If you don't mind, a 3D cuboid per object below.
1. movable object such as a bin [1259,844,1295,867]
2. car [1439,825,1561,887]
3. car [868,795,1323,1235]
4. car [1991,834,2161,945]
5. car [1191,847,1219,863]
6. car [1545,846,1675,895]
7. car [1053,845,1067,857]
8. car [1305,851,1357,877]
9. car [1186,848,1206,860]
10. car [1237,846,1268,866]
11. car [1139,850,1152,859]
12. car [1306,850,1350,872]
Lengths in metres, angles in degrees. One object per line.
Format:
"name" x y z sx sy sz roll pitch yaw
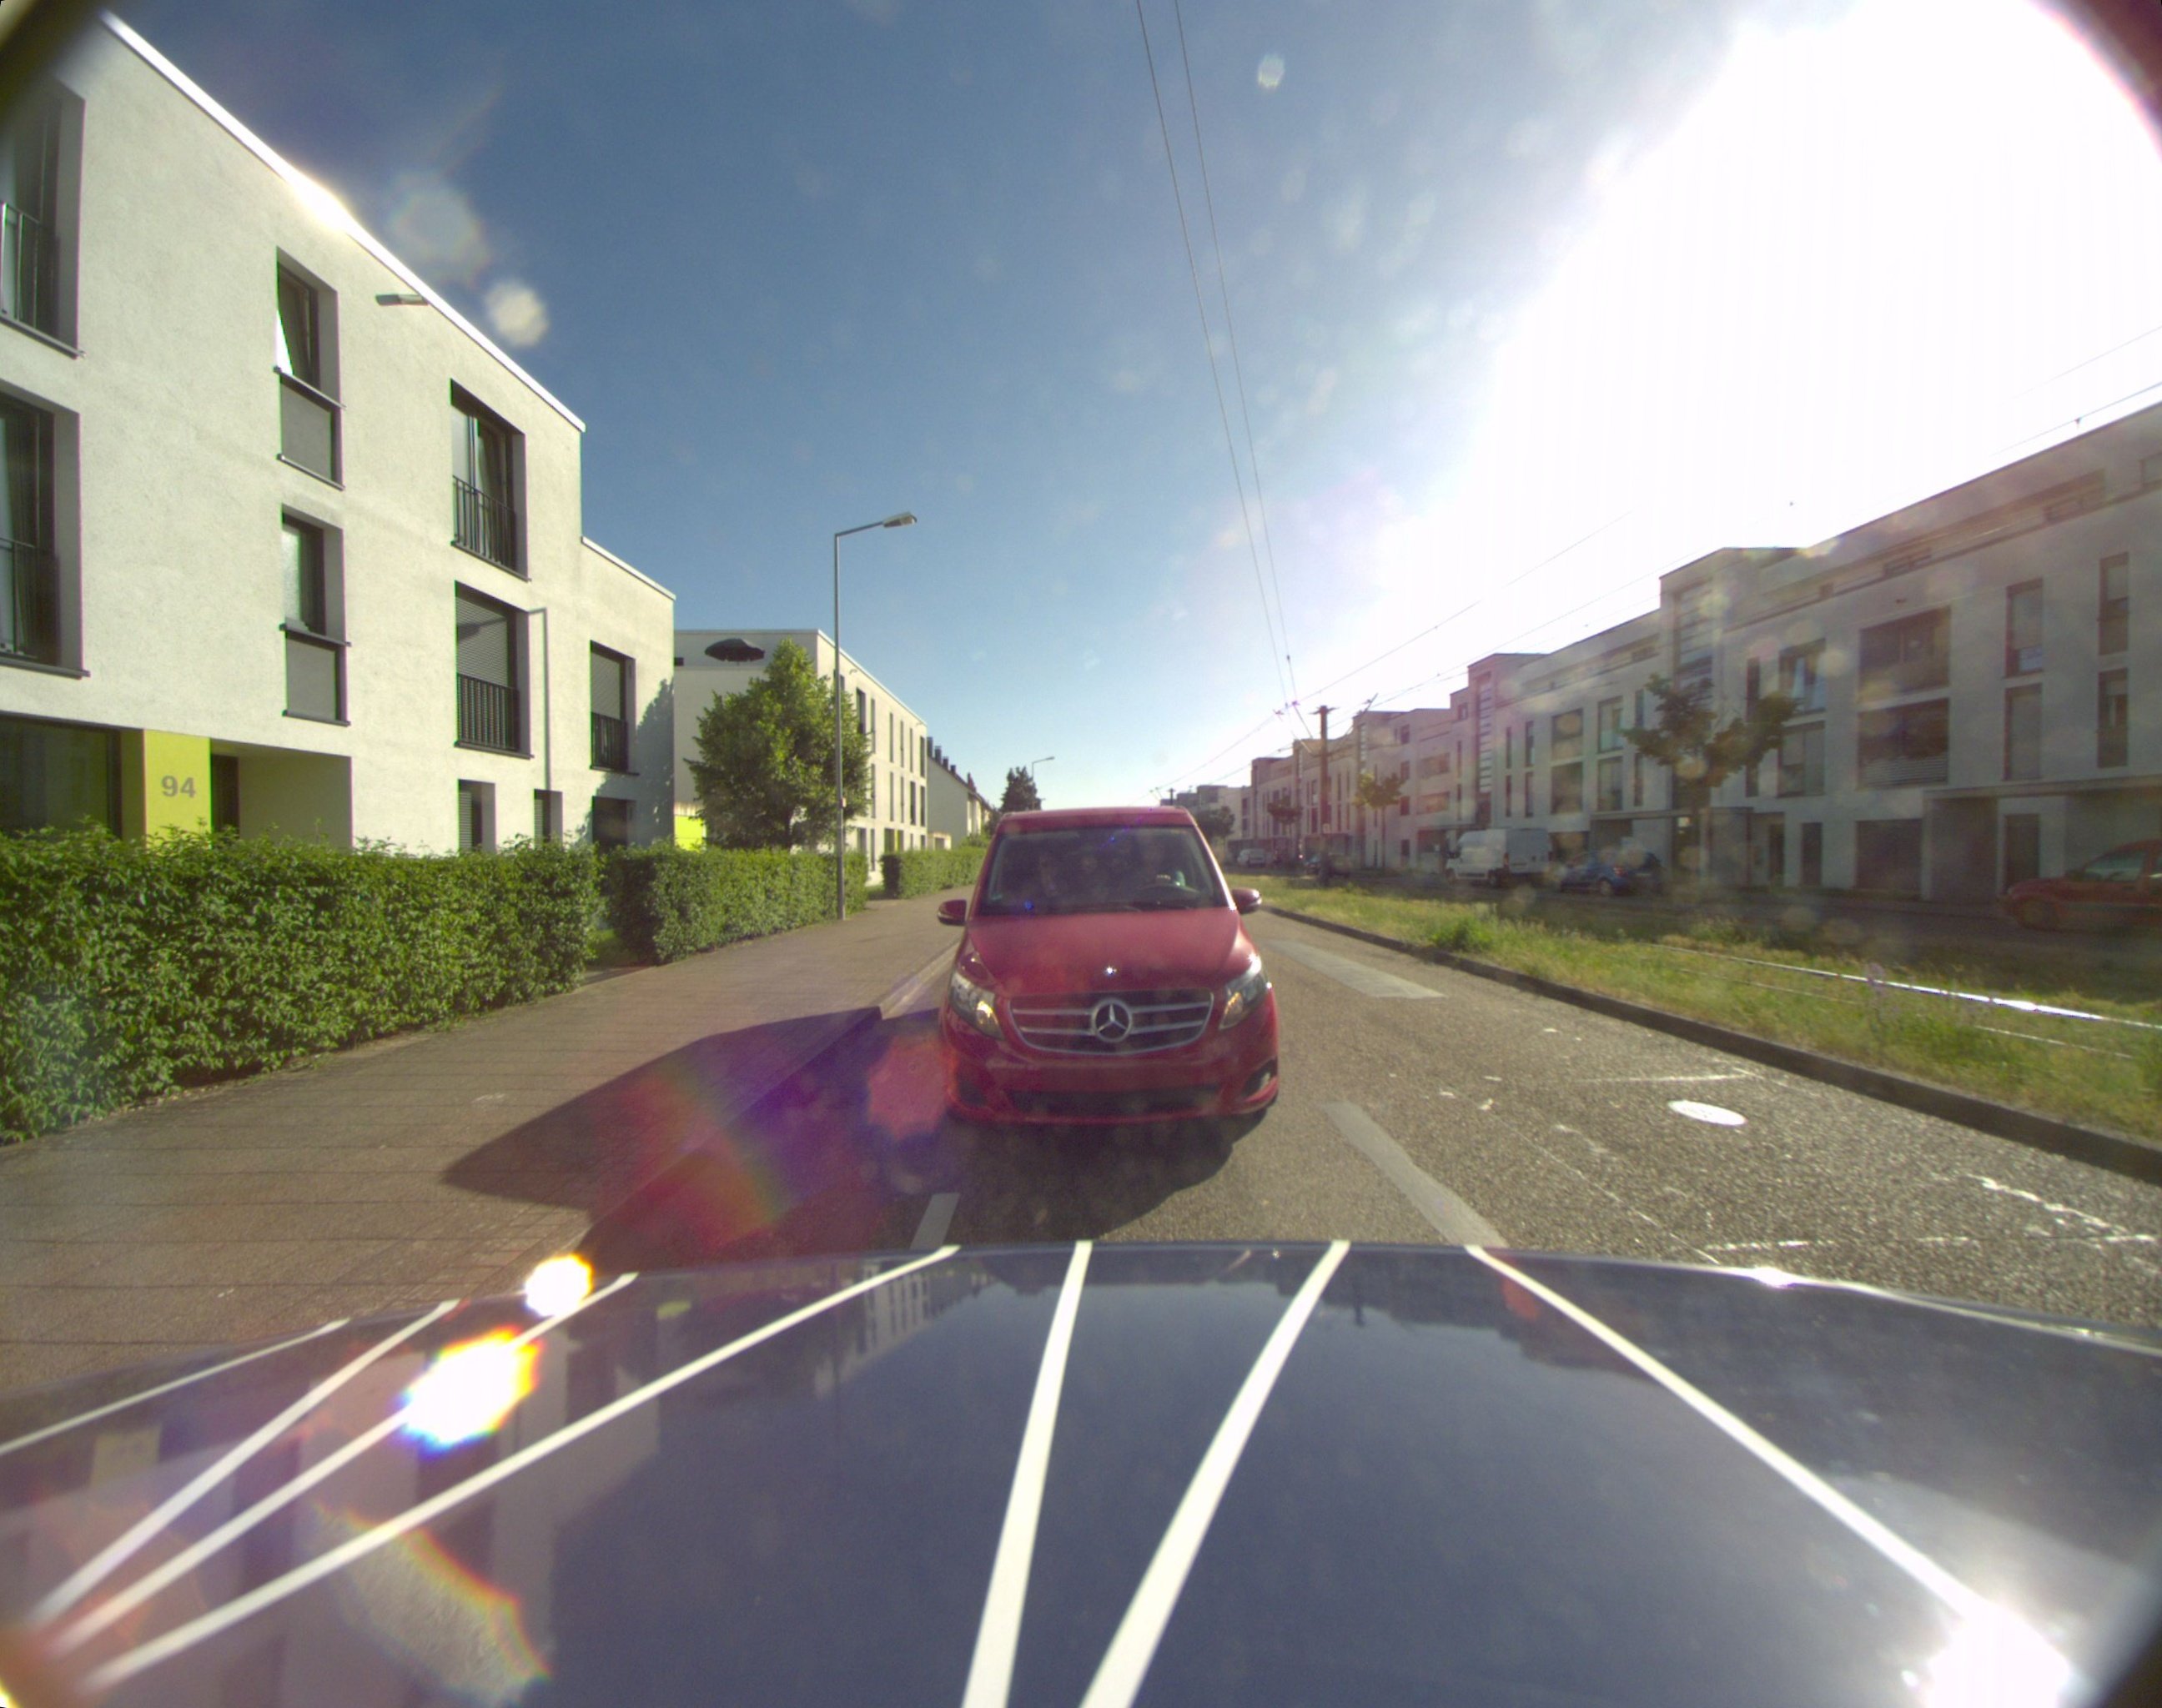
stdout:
"movable object such as a bin" 17.043 0.124 66.109 1.766 1.926 4.155 -2 0 -4
"car" 18.152 0.081 33.328 2.146 2.430 5.588 -2 0 -1
"car" 0.125 0.725 6.035 1.979 1.922 5.205 -2 0 1
"car" 18.587 0.570 12.828 1.885 1.785 3.837 -2 0 1
"car" 13.262 0.099 81.449 1.999 1.586 4.645 2 0 -2
"car" 18.300 0.520 26.510 1.829 1.528 3.842 -2 0 0
"car" -2.747 -0.370 98.376 1.700 1.466 4.013 2 0 0
"car" 14.643 0.536 44.711 1.792 1.410 4.000 1 0 1
"car" 15.046 -0.001 99.563 1.766 1.590 4.155 -2 0 -4
"car" 16.717 0.163 74.240 1.766 1.859 4.155 -2 0 -4
"car" 11.898 0.133 139.505 1.766 1.590 4.155 -2 0 -4
"car" 17.537 0.476 54.202 1.521 1.424 4.155 -2 0 -4
